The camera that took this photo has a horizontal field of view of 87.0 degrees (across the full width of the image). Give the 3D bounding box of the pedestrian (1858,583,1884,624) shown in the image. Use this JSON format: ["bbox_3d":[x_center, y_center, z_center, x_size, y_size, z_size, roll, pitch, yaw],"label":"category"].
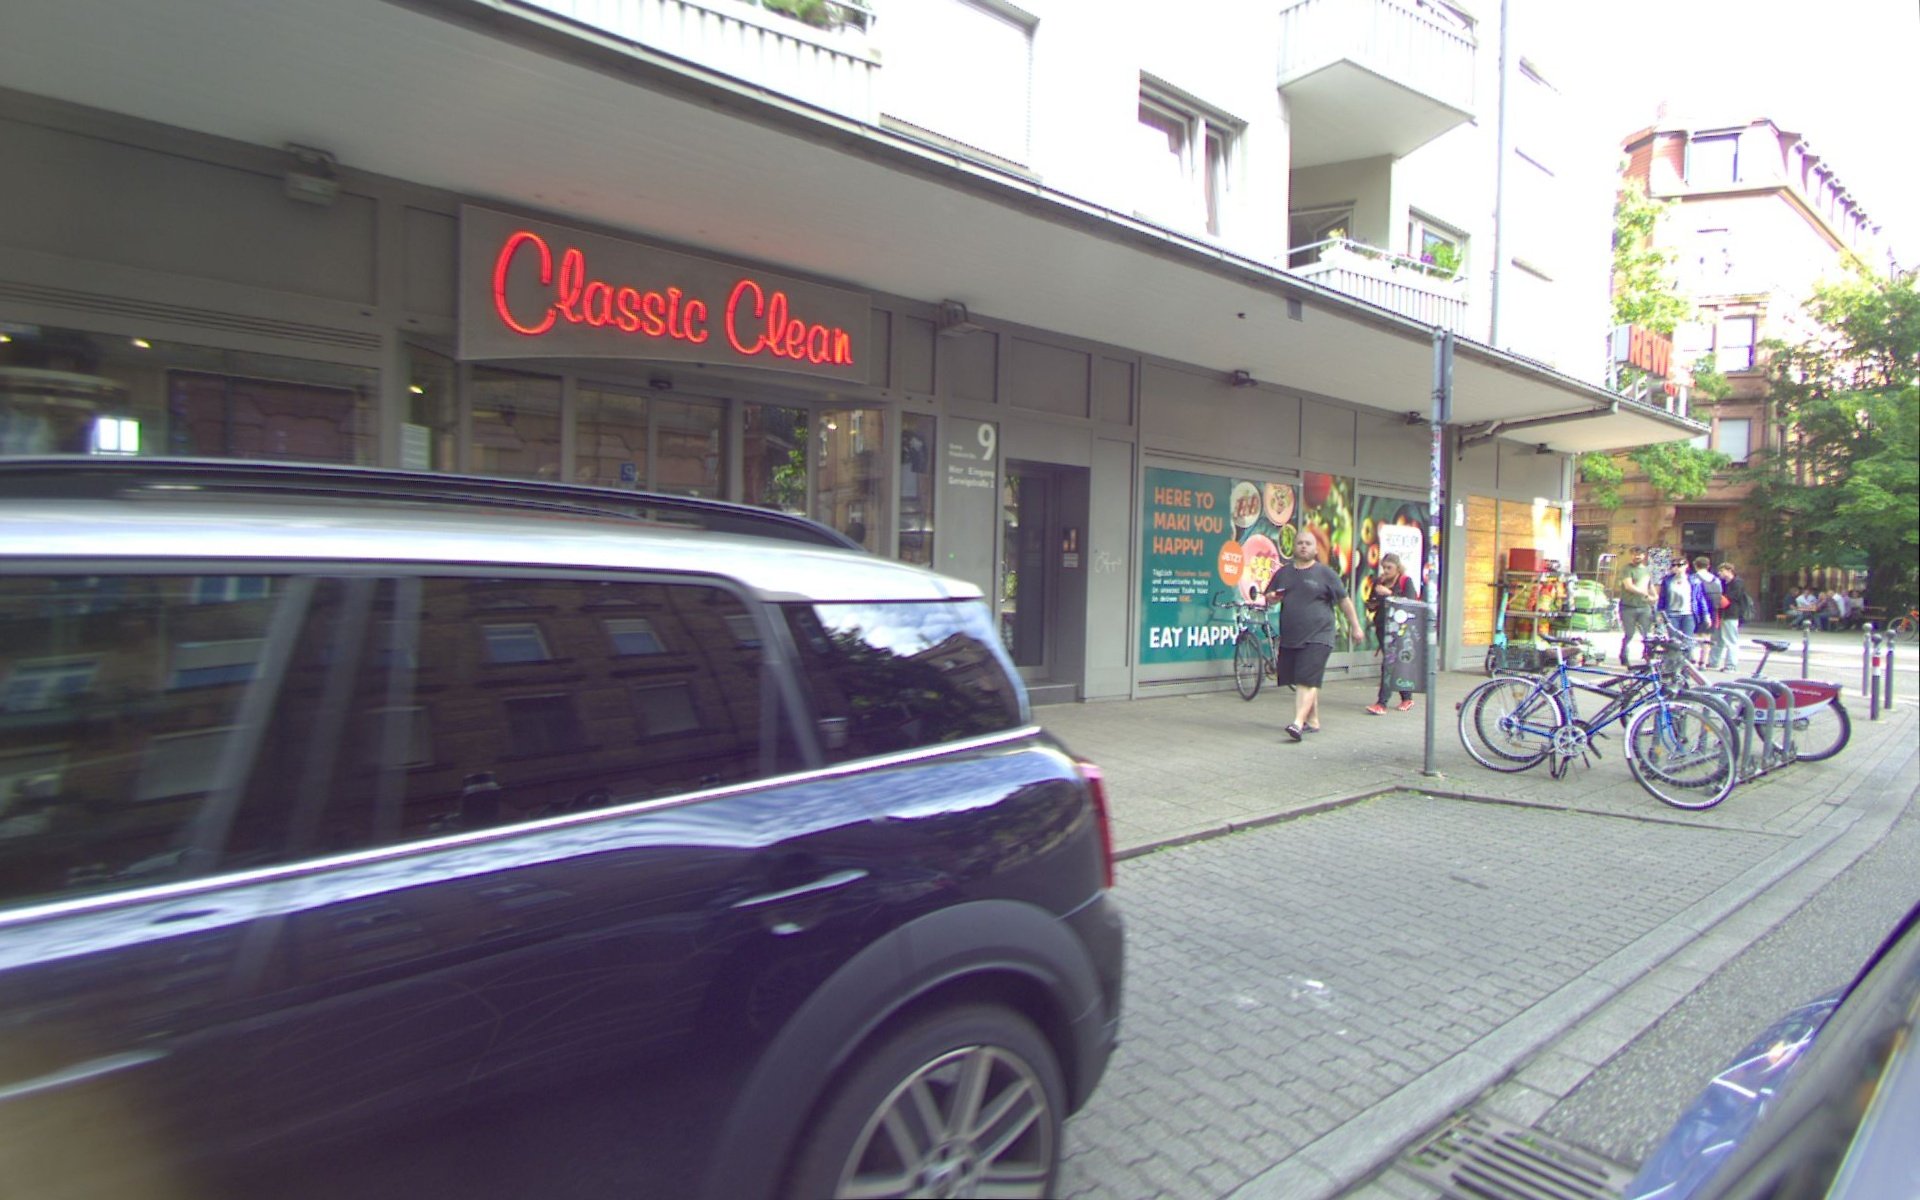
[{"bbox_3d":[30.977,0.105,34.406,0.462,1.343,0.616,2,3,28],"label":"pedestrian"}]

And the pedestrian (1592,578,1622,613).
[{"bbox_3d":[25.037,-0.181,39.156,0.753,1.301,0.631,-1,2,-15],"label":"pedestrian"}]

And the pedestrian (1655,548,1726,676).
[{"bbox_3d":[10.581,0.152,14.691,0.761,1.775,0.919,2,1,35],"label":"pedestrian"}]

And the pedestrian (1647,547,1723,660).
[{"bbox_3d":[12.152,0.045,16.971,0.645,1.818,0.657,3,3,-26],"label":"pedestrian"}]

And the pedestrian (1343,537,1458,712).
[{"bbox_3d":[4.417,0.219,10.152,0.700,1.652,0.724,1,4,-40],"label":"pedestrian"}]

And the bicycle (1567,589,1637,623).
[{"bbox_3d":[21.167,0.194,33.373,2.006,1.102,0.448,0,2,0],"label":"bicycle"}]

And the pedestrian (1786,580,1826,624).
[{"bbox_3d":[27.931,0.059,33.415,0.656,1.395,0.718,1,2,-4],"label":"pedestrian"}]

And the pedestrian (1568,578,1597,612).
[{"bbox_3d":[24.630,-0.198,40.069,0.753,1.301,0.631,-1,2,-15],"label":"pedestrian"}]

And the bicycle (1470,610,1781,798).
[{"bbox_3d":[4.821,0.690,7.424,1.788,1.083,0.560,6,3,42],"label":"bicycle"}]

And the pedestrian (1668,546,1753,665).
[{"bbox_3d":[12.013,0.066,16.214,0.620,1.818,0.716,4,3,-5],"label":"pedestrian"}]

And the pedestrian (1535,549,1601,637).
[{"bbox_3d":[13.468,-0.176,22.459,0.874,1.856,1.043,3,3,14],"label":"pedestrian"}]

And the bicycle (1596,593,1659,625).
[{"bbox_3d":[21.426,0.287,32.494,1.680,0.999,0.448,0,2,0],"label":"bicycle"}]

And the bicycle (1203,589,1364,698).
[{"bbox_3d":[3.483,0.426,10.836,1.751,1.027,0.744,0,4,-39],"label":"bicycle"}]

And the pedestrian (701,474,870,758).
[{"bbox_3d":[-1.181,0.076,6.812,0.802,1.767,0.715,1,4,-40],"label":"pedestrian"}]

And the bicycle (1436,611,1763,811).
[{"bbox_3d":[4.374,0.692,7.023,1.788,1.083,0.578,6,3,42],"label":"bicycle"}]

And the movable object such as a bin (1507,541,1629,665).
[{"bbox_3d":[9.332,0.026,15.479,2.379,1.766,0.781,0,2,-39],"label":"movable object such as a bin"}]

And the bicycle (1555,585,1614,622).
[{"bbox_3d":[20.939,0.123,33.949,1.680,1.216,0.448,0,2,0],"label":"bicycle"}]

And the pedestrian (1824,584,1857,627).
[{"bbox_3d":[28.075,0.176,32.276,0.726,1.331,0.513,2,1,40],"label":"pedestrian"}]

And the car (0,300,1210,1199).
[{"bbox_3d":[-1.541,0.477,1.685,3.853,1.625,1.797,0,2,-39],"label":"car"}]

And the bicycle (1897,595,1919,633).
[{"bbox_3d":[27.700,0.429,28.483,0.671,1.047,1.856,0,3,-39],"label":"bicycle"}]

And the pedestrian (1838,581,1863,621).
[{"bbox_3d":[30.755,0.021,34.963,0.462,1.343,0.616,2,3,28],"label":"pedestrian"}]

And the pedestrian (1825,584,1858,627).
[{"bbox_3d":[28.444,0.177,32.663,0.726,1.331,0.513,2,1,40],"label":"pedestrian"}]

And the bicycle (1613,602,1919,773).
[{"bbox_3d":[6.838,0.663,8.632,0.891,1.138,1.888,0,4,-40],"label":"bicycle"}]

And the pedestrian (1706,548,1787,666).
[{"bbox_3d":[12.703,0.099,16.370,0.705,1.818,0.629,5,3,17],"label":"pedestrian"}]

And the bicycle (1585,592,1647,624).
[{"bbox_3d":[21.335,0.264,32.926,1.680,0.999,0.448,0,2,0],"label":"bicycle"}]

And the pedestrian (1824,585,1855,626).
[{"bbox_3d":[28.824,0.175,33.172,0.726,1.331,0.599,2,1,40],"label":"pedestrian"}]

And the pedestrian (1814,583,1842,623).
[{"bbox_3d":[29.824,0.087,34.792,0.543,1.316,0.616,2,3,28],"label":"pedestrian"}]

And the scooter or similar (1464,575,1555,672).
[{"bbox_3d":[7.480,0.304,13.770,1.234,1.227,0.633,0,4,-41],"label":"scooter or similar"}]

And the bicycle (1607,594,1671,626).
[{"bbox_3d":[21.490,0.323,32.041,1.680,0.981,0.448,0,2,0],"label":"bicycle"}]

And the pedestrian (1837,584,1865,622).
[{"bbox_3d":[30.257,0.096,34.373,0.543,1.247,0.616,2,3,28],"label":"pedestrian"}]

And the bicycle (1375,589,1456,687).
[{"bbox_3d":[5.676,0.424,12.553,0.673,1.055,1.715,3,3,32],"label":"bicycle"}]

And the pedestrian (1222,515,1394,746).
[{"bbox_3d":[2.902,0.215,8.444,1.030,1.767,0.851,1,4,-40],"label":"pedestrian"}]
